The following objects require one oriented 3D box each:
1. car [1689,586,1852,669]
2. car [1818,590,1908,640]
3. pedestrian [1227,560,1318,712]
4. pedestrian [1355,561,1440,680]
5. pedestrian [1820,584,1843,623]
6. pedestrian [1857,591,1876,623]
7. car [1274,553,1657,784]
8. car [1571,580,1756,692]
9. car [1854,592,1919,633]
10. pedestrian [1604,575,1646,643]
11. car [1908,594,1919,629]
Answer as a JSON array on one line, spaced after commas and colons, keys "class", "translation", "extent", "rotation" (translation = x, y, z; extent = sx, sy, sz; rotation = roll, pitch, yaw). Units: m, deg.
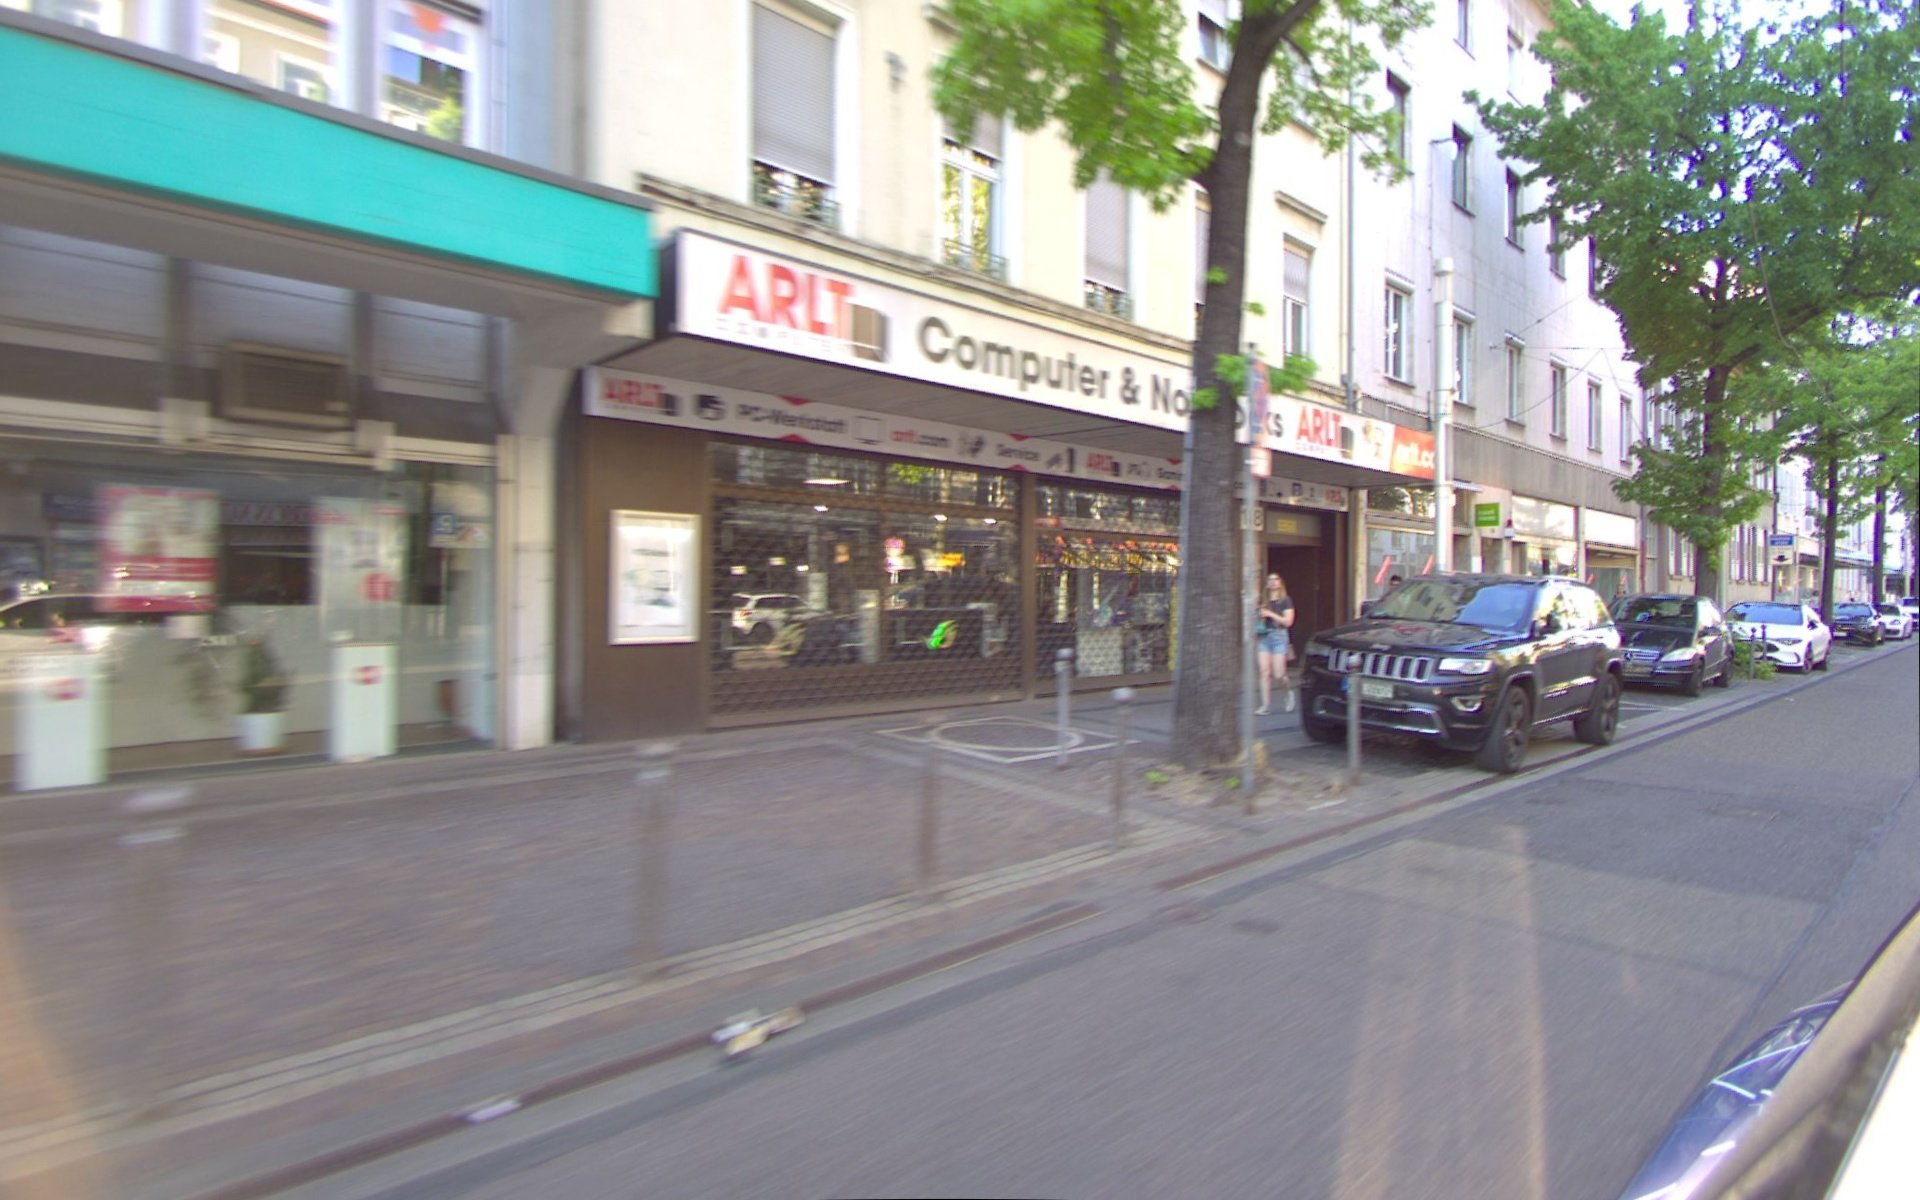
[{"class": "car", "translation": [17.777, 0.525, 22.113], "extent": [4.599, 1.516, 1.997], "rotation": [0, 4, -42]}, {"class": "car", "translation": [30.666, 0.459, 34.319], "extent": [4.682, 1.496, 1.835], "rotation": [0, 3, -43]}, {"class": "pedestrian", "translation": [3.680, 0.399, 11.906], "extent": [0.773, 1.690, 0.644], "rotation": [0, 3, -42]}, {"class": "pedestrian", "translation": [6.916, 0.301, 16.005], "extent": [0.917, 1.774, 0.859], "rotation": [0, 3, -42]}, {"class": "pedestrian", "translation": [43.159, 0.156, 50.123], "extent": [1.035, 1.910, 0.714], "rotation": [0, 1, -42]}, {"class": "pedestrian", "translation": [45.504, 0.360, 50.807], "extent": [0.785, 1.593, 0.650], "rotation": [0, 0, -42]}, {"class": "car", "translation": [5.347, 0.514, 10.391], "extent": [4.600, 1.780, 1.942], "rotation": [0, 4, -43]}, {"class": "car", "translation": [12.172, 0.535, 17.423], "extent": [3.826, 1.610, 1.779], "rotation": [0, 4, -43]}, {"class": "car", "translation": [36.896, 0.468, 39.882], "extent": [4.804, 1.438, 1.916], "rotation": [0, 3, -42]}, {"class": "pedestrian", "translation": [17.251, 0.224, 26.234], "extent": [0.873, 1.685, 0.659], "rotation": [0, 3, -43]}, {"class": "car", "translation": [50.020, 0.598, 51.820], "extent": [1.999, 1.708, 4.889], "rotation": [4, 3, 44]}]
